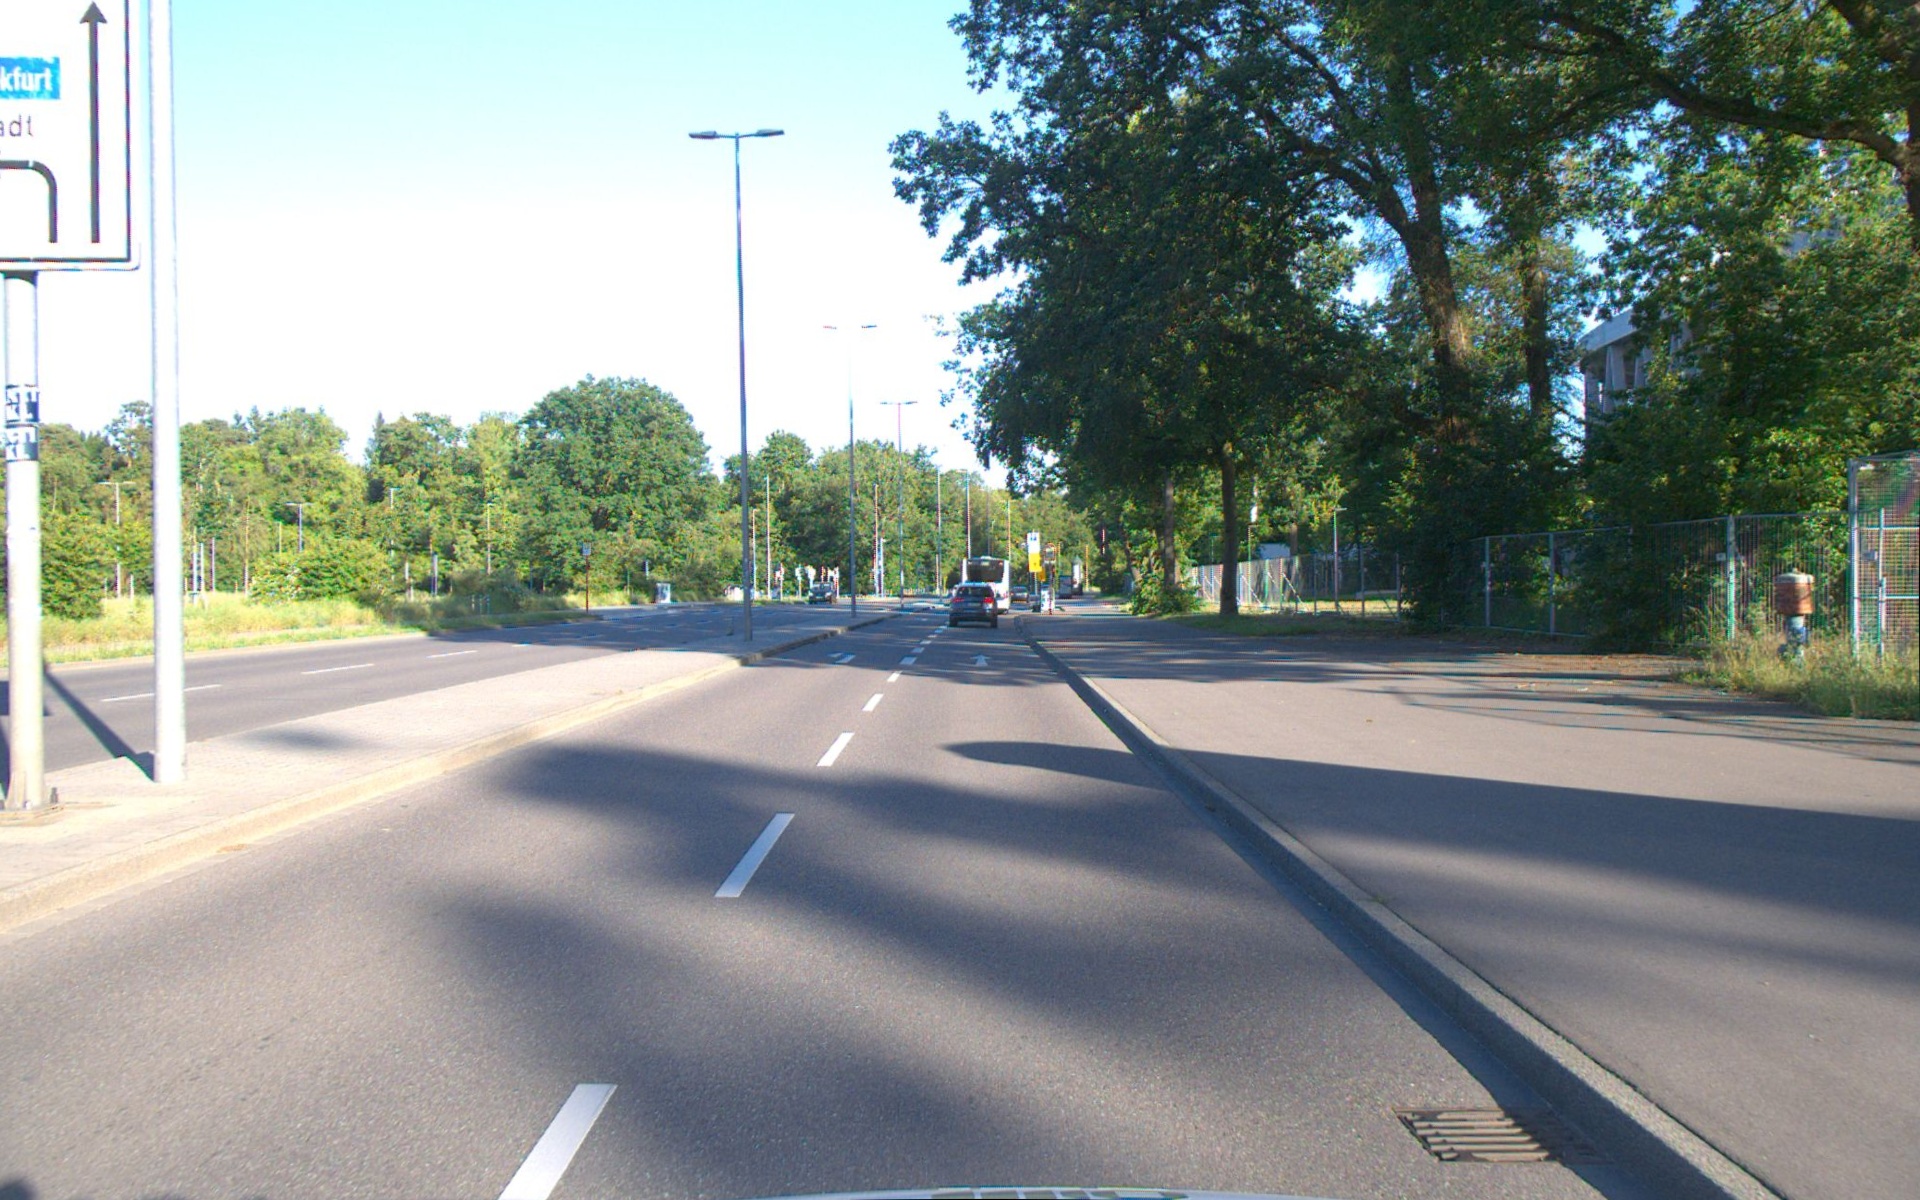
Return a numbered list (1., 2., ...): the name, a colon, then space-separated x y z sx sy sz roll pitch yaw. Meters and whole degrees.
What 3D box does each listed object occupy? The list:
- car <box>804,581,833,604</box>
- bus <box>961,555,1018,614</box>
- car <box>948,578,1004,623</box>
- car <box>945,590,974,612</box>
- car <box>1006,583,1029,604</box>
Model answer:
1. car: -10.986 -0.578 128.751 1.746 1.721 4.703 2 1 1
2. bus: 1.692 -0.772 91.223 2.540 3.041 9.331 1 0 4
3. car: 0.655 0.003 63.957 1.858 1.660 4.002 1 0 4
4. car: 0.006 0.070 118.627 1.797 1.545 4.002 0 0 4
5. car: 5.108 -0.539 145.922 1.870 1.758 4.581 1 0 3
